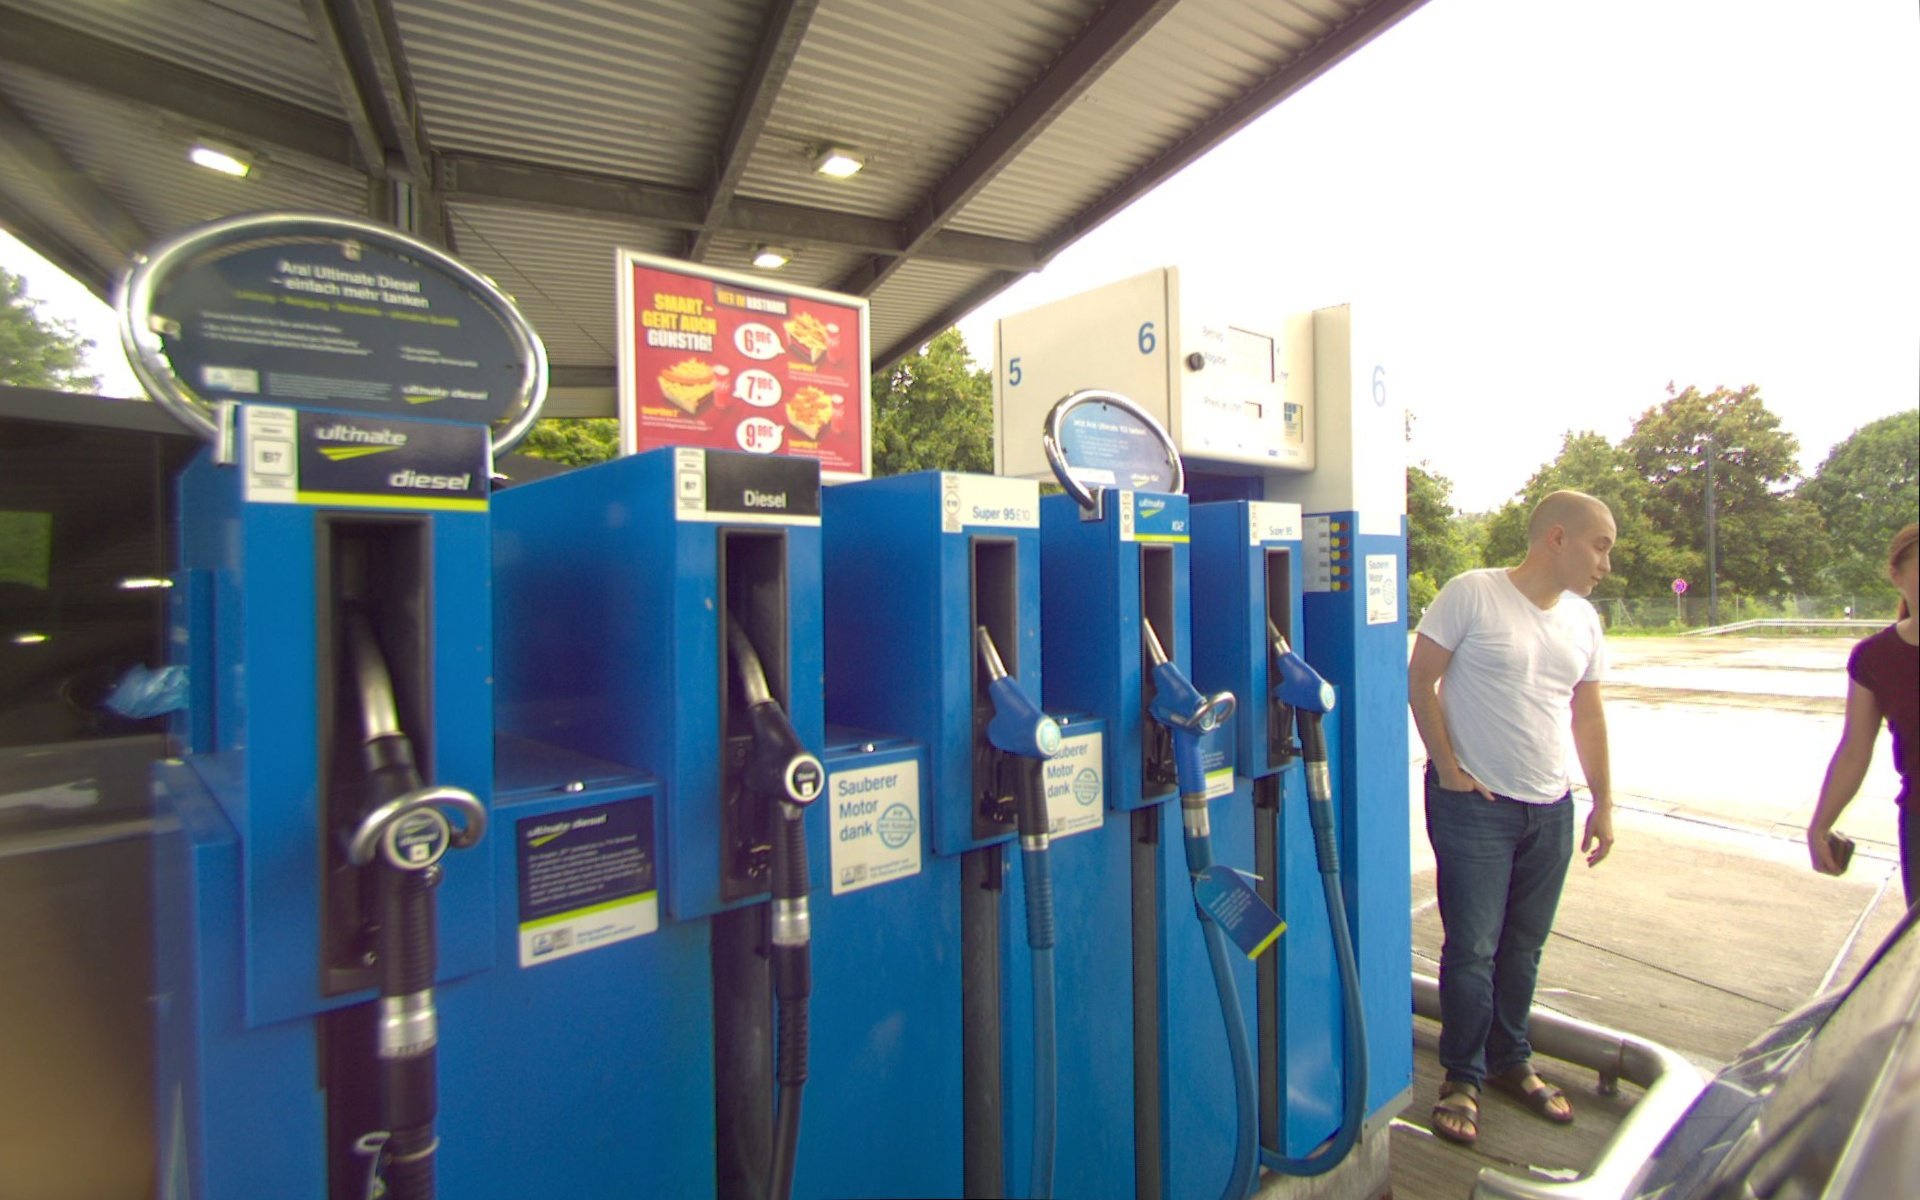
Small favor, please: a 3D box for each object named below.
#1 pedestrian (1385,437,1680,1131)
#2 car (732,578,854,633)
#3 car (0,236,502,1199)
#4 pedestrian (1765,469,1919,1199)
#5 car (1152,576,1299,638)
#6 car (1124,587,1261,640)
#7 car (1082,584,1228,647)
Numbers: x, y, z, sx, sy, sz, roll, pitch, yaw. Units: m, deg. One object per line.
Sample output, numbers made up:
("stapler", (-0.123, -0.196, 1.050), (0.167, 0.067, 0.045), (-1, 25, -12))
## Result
("pedestrian", (1.643, 0.486, 2.985), (0.625, 1.832, 0.492), (-1, 1, 15))
("car", (-5.563, 0.147, 33.486), (1.967, 1.683, 4.170), (0, 0, -44))
("car", (-3.019, 0.403, 1.489), (3.930, 1.973, 1.819), (0, 0, -41))
("pedestrian", (2.613, 0.570, 2.597), (0.792, 1.756, 0.829), (1, 1, 36))
("car", (8.934, 0.203, 34.344), (4.700, 2.011, 2.007), (0, 0, 14))
("car", (7.397, 0.400, 32.159), (4.123, 1.576, 1.990), (0, 0, 17))
("car", (5.809, 0.416, 30.024), (4.123, 1.752, 1.990), (0, 0, 17))
